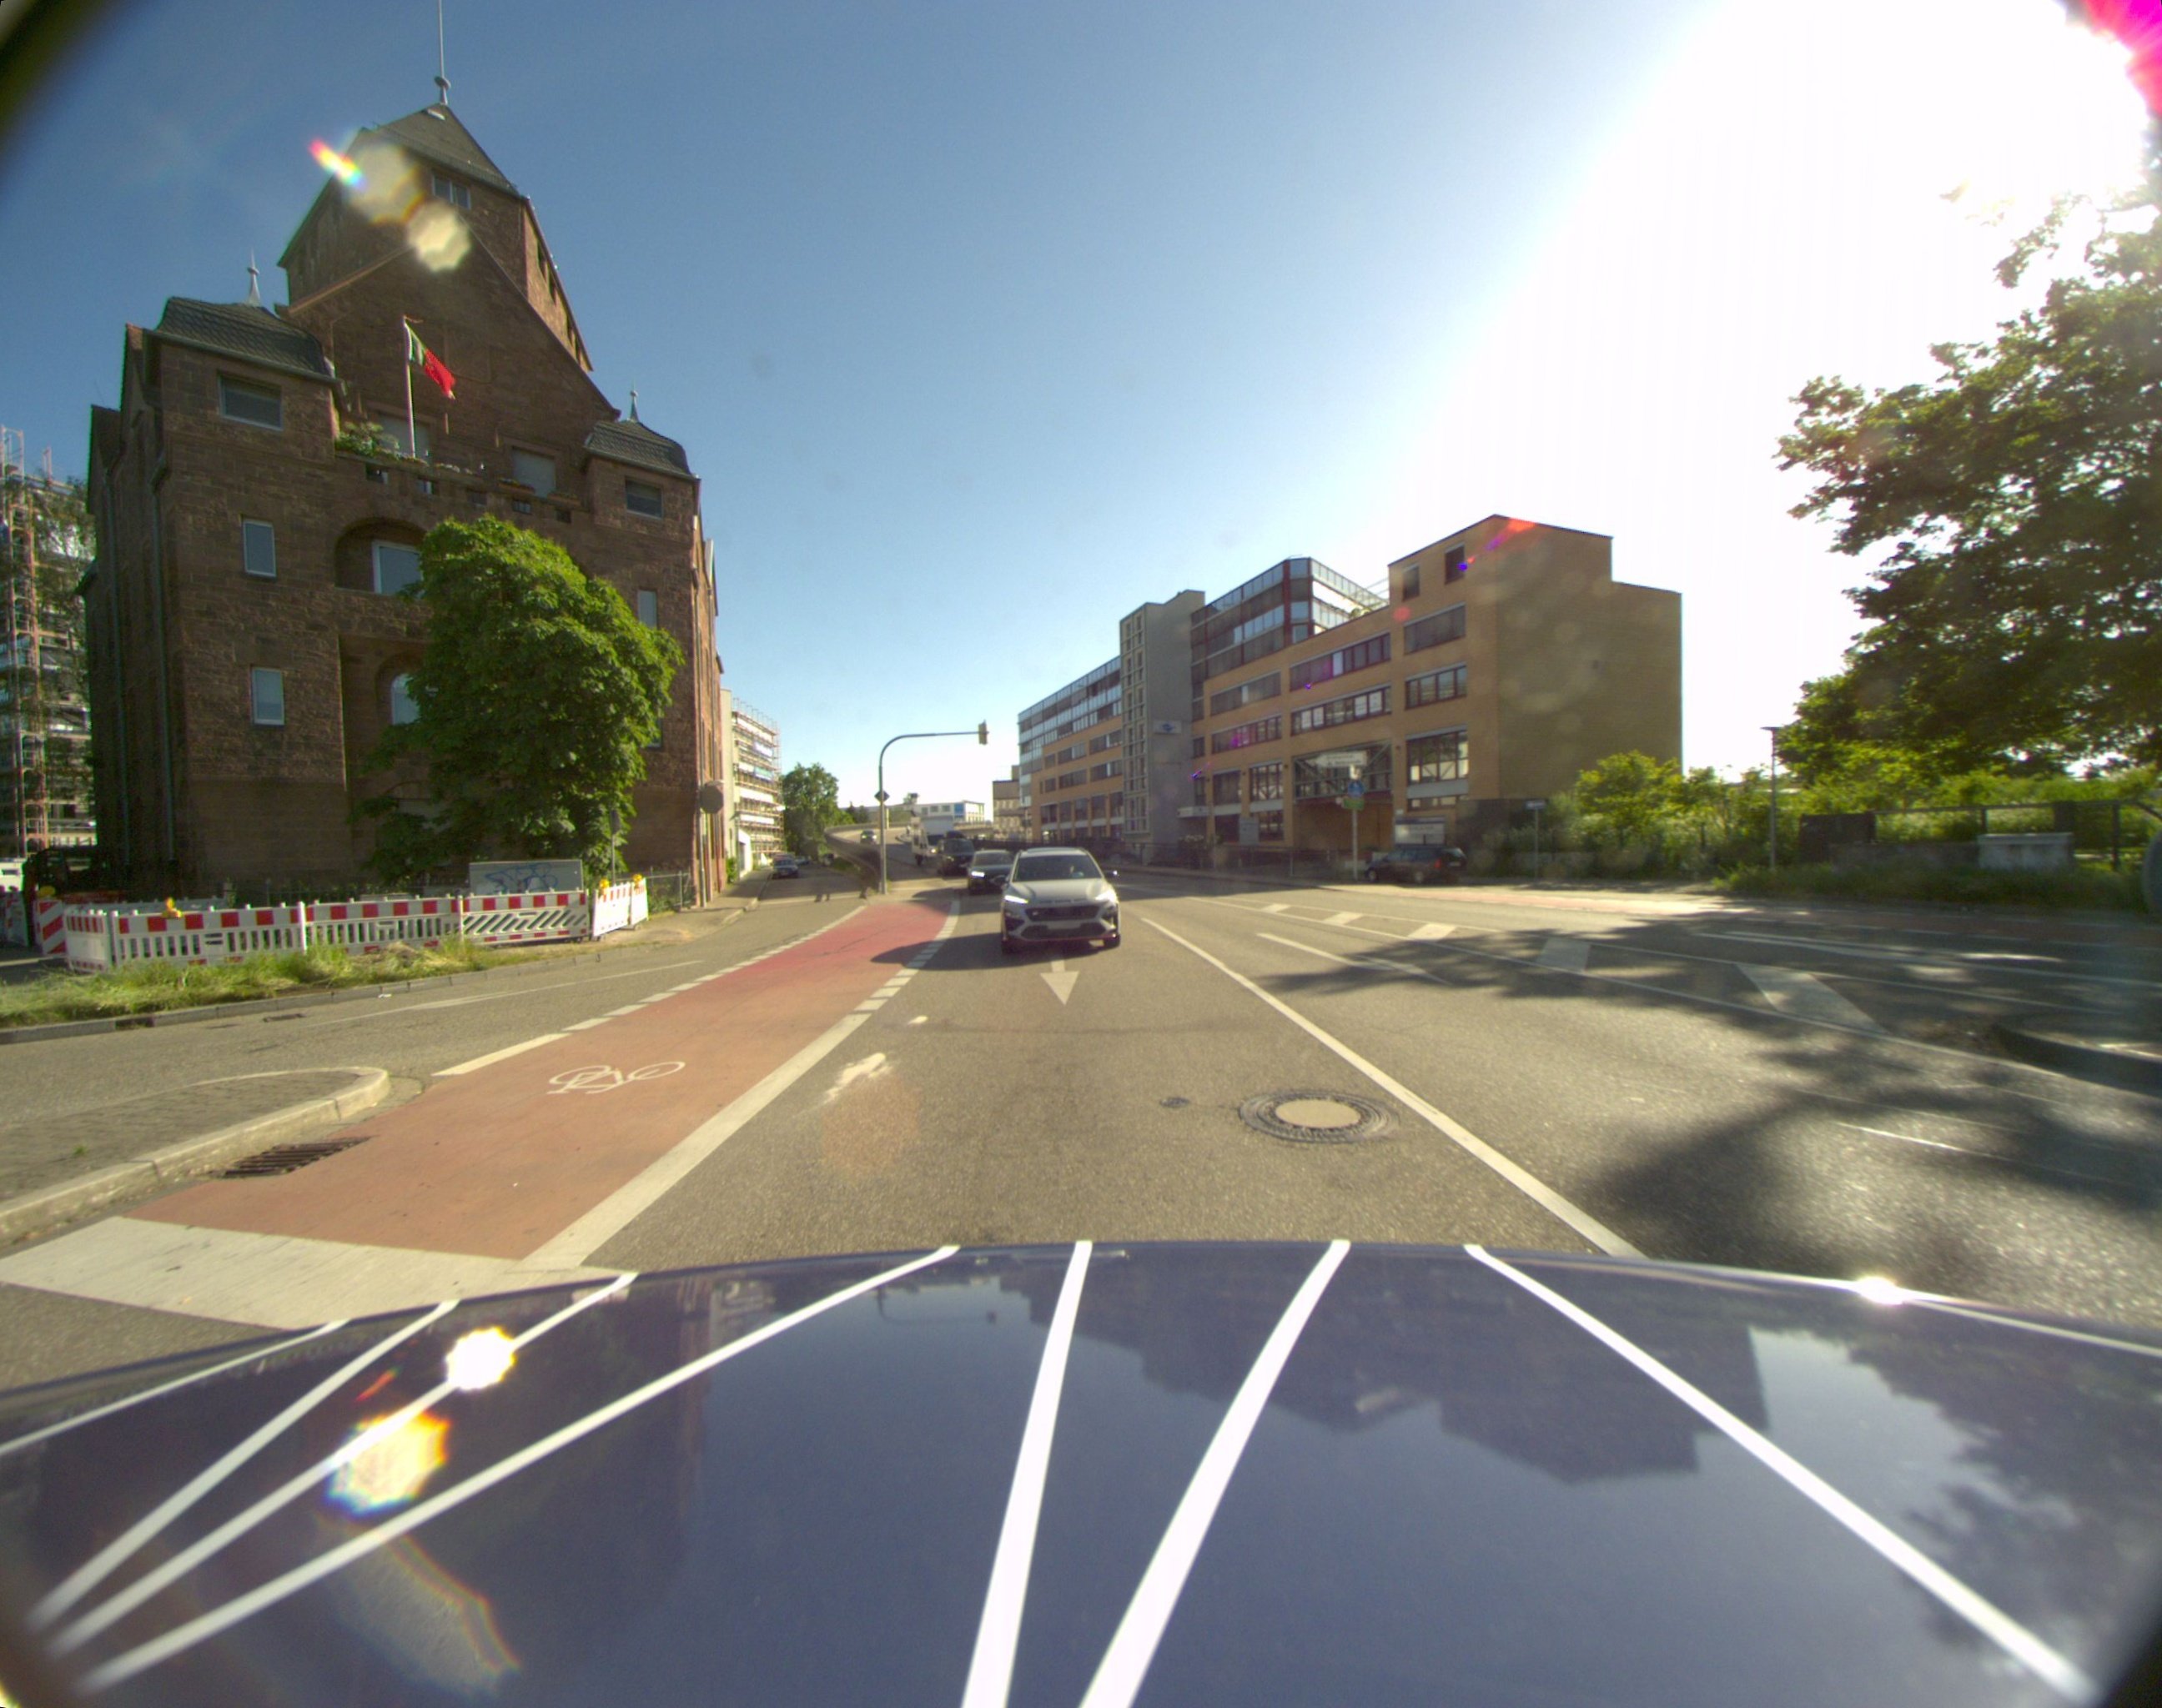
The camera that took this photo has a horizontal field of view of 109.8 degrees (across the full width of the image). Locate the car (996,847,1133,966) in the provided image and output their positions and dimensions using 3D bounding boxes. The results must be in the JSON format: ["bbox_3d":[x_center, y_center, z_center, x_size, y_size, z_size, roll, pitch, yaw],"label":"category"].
[{"bbox_3d":[-0.452,0.713,12.871,1.880,1.612,4.193,-2,1,-7],"label":"car"}]

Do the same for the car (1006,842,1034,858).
[{"bbox_3d":[-6.470,-0.422,80.102,2.001,1.500,3.992,-4,2,-19],"label":"car"}]

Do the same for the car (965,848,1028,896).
[{"bbox_3d":[-3.121,0.568,27.423,1.880,1.462,4.631,-3,1,-10],"label":"car"}]

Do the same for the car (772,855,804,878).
[{"bbox_3d":[-21.531,0.870,55.868,2.056,1.523,4.085,-2,1,-22],"label":"car"}]

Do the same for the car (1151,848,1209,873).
[{"bbox_3d":[6.290,0.412,48.691,1.641,1.515,4.152,-2,1,-25],"label":"car"}]

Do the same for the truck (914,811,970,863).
[{"bbox_3d":[-9.110,-1.035,49.201,2.506,3.110,6.948,-2,1,-18],"label":"truck"}]

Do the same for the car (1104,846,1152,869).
[{"bbox_3d":[3.438,0.250,56.055,1.882,1.515,4.153,-2,1,-22],"label":"car"}]

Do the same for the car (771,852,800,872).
[{"bbox_3d":[-24.511,0.657,62.926,2.056,1.523,4.085,-2,1,-23],"label":"car"}]

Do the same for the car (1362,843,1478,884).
[{"bbox_3d":[13.194,0.389,29.888,1.661,1.500,4.372,0,-1,-18],"label":"car"}]

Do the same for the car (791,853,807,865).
[{"bbox_3d":[-44.140,0.713,118.990,1.758,1.749,4.198,-2,1,-11],"label":"car"}]

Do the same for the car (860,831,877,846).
[{"bbox_3d":[-27.383,-1.957,97.968,1.758,1.749,4.780,-2,1,-11],"label":"car"}]

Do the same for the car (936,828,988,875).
[{"bbox_3d":[-6.199,-0.132,39.193,1.953,2.248,4.778,-2,1,-17],"label":"car"}]

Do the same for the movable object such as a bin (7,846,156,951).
[{"bbox_3d":[-25.743,1.069,19.545,3.989,2.395,2.004,-1,1,34],"label":"movable object such as a bin"}]

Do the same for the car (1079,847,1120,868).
[{"bbox_3d":[1.461,0.253,61.027,1.887,1.555,3.993,-2,1,-20],"label":"car"}]
